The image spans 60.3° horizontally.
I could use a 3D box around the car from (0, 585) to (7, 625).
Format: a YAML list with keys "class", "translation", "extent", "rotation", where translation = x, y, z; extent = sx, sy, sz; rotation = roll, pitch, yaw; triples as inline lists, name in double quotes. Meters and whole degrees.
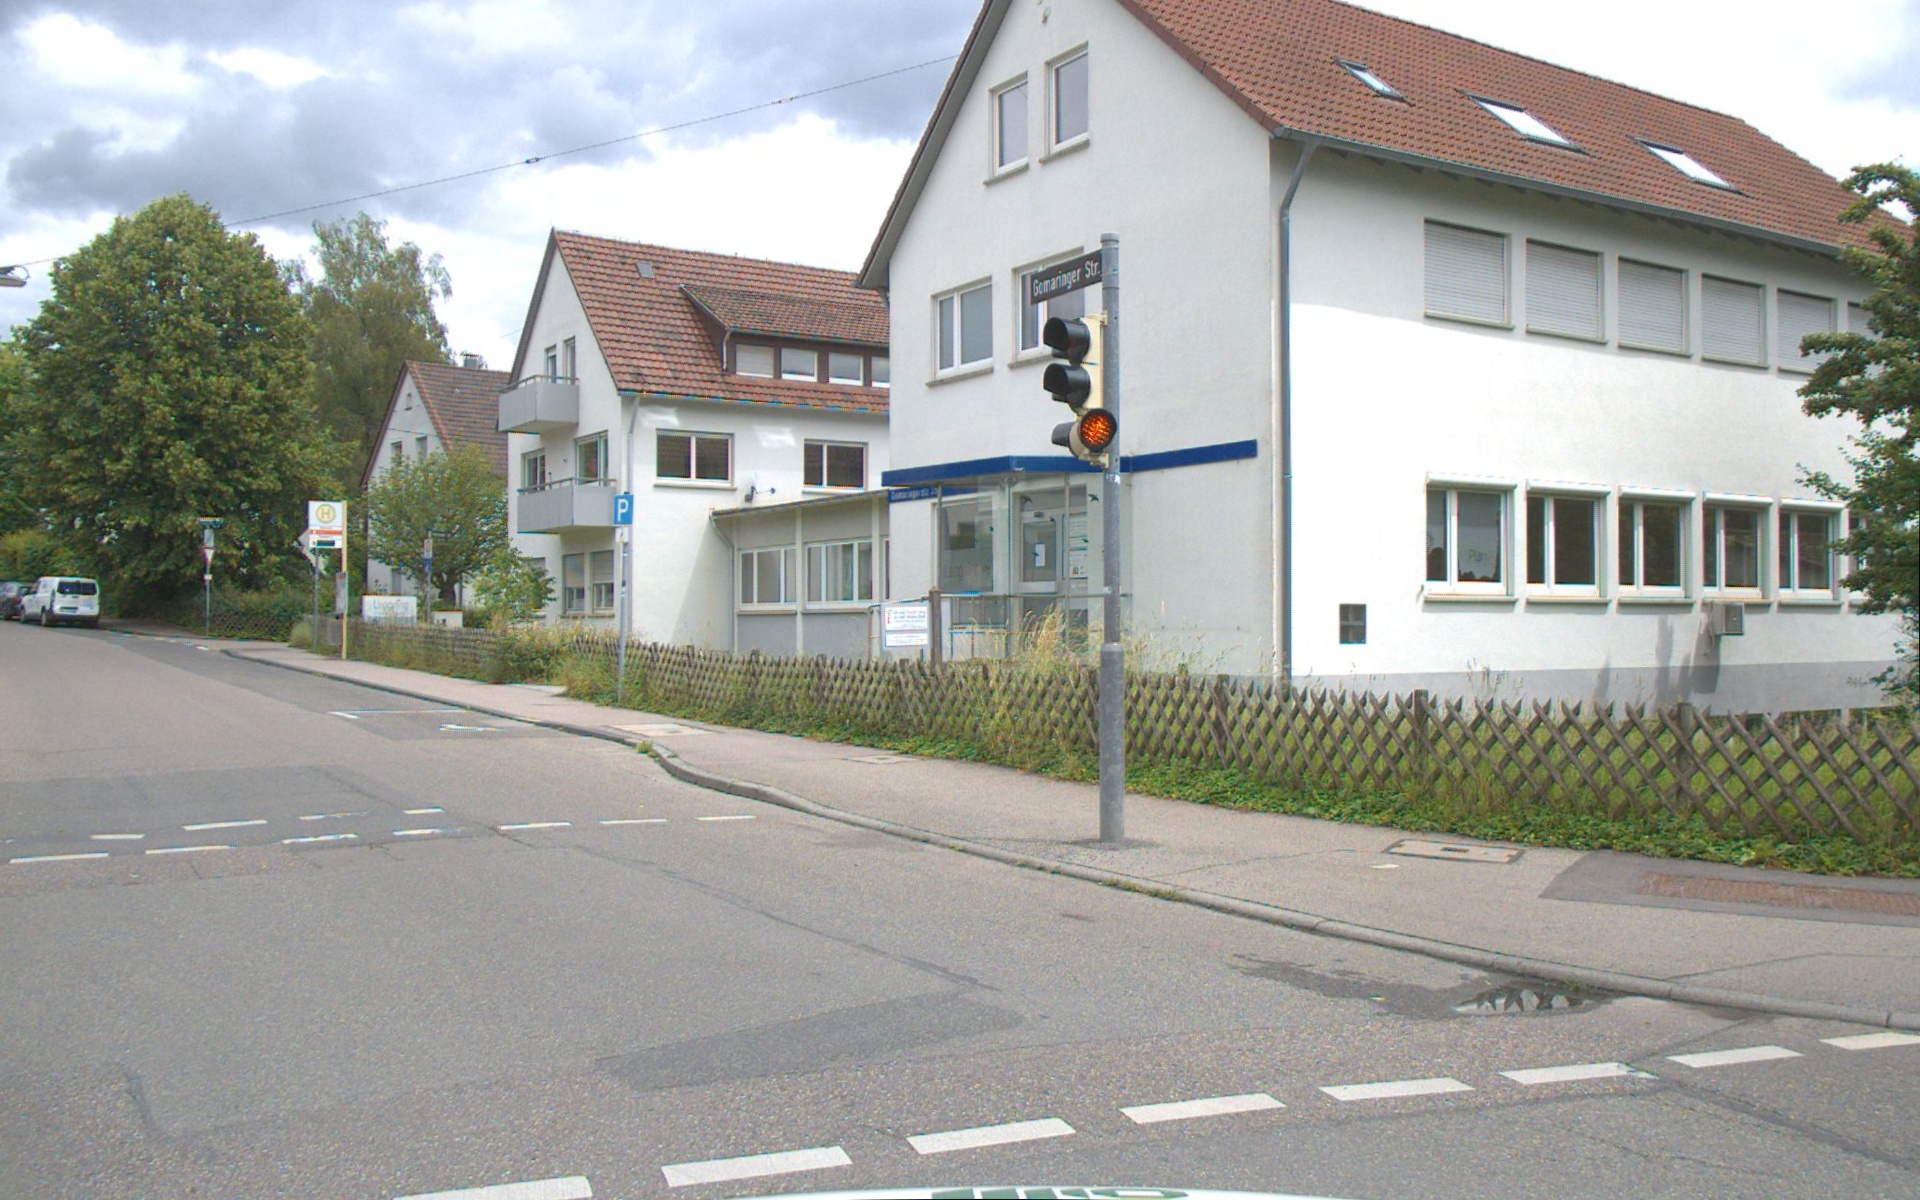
- class: "car"
  translation: [-41.813, 0.136, 69.523]
  extent: [1.984, 1.643, 4.466]
  rotation: [3, -1, -44]

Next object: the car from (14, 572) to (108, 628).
- class: "car"
  translation: [-33.154, -0.014, 60.963]
  extent: [4.246, 1.805, 1.830]
  rotation: [2, -1, 45]

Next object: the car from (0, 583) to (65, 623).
- class: "car"
  translation: [-37.021, 0.102, 65.116]
  extent: [1.985, 1.504, 4.546]
  rotation: [1, 0, -44]
